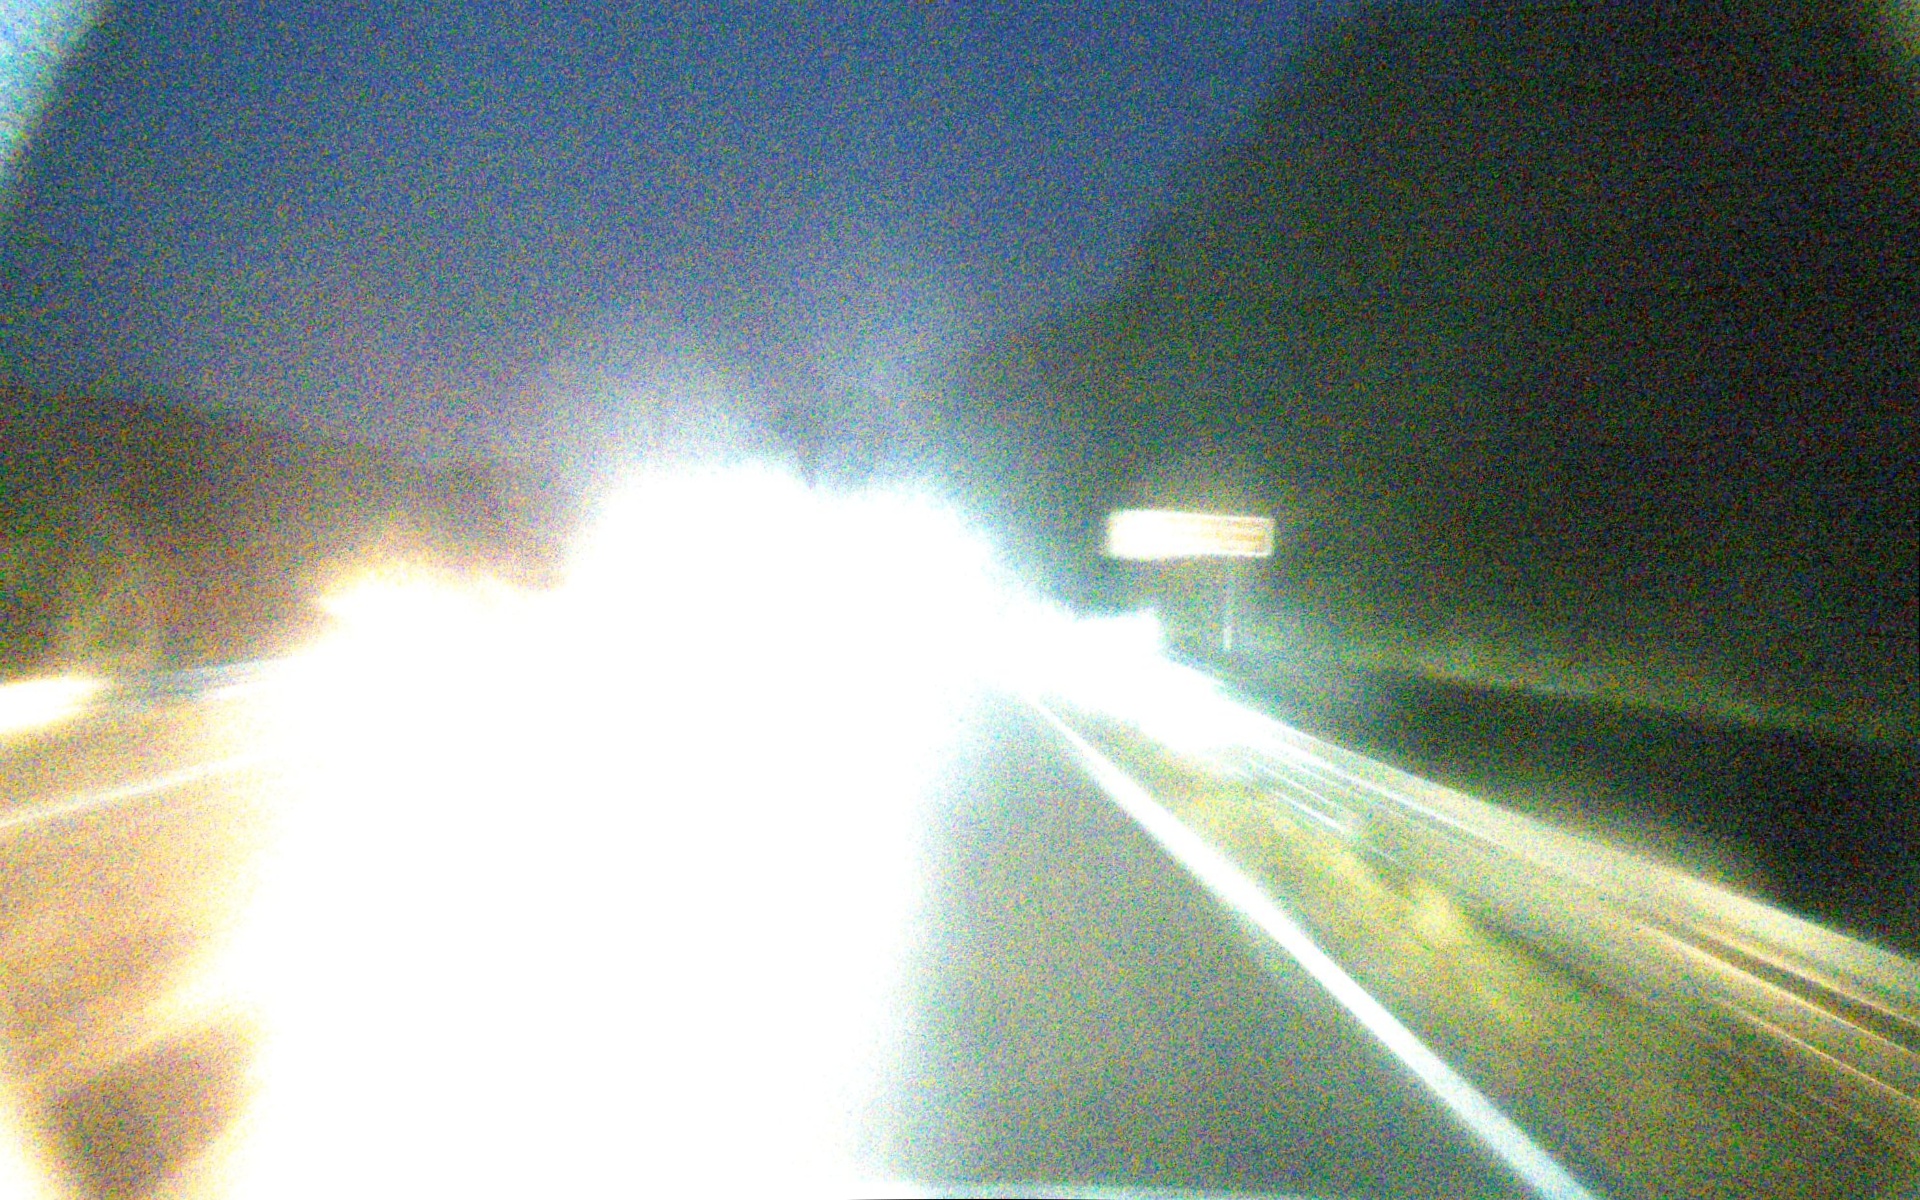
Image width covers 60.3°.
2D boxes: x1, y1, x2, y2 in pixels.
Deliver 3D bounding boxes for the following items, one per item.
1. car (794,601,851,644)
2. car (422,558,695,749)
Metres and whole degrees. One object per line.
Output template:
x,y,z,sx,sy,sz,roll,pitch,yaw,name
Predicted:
-5.070,0.819,61.390,1.831,1.473,4.391,1,0,-2,car
-3.806,0.453,16.344,1.831,1.641,3.845,1,0,-2,car
